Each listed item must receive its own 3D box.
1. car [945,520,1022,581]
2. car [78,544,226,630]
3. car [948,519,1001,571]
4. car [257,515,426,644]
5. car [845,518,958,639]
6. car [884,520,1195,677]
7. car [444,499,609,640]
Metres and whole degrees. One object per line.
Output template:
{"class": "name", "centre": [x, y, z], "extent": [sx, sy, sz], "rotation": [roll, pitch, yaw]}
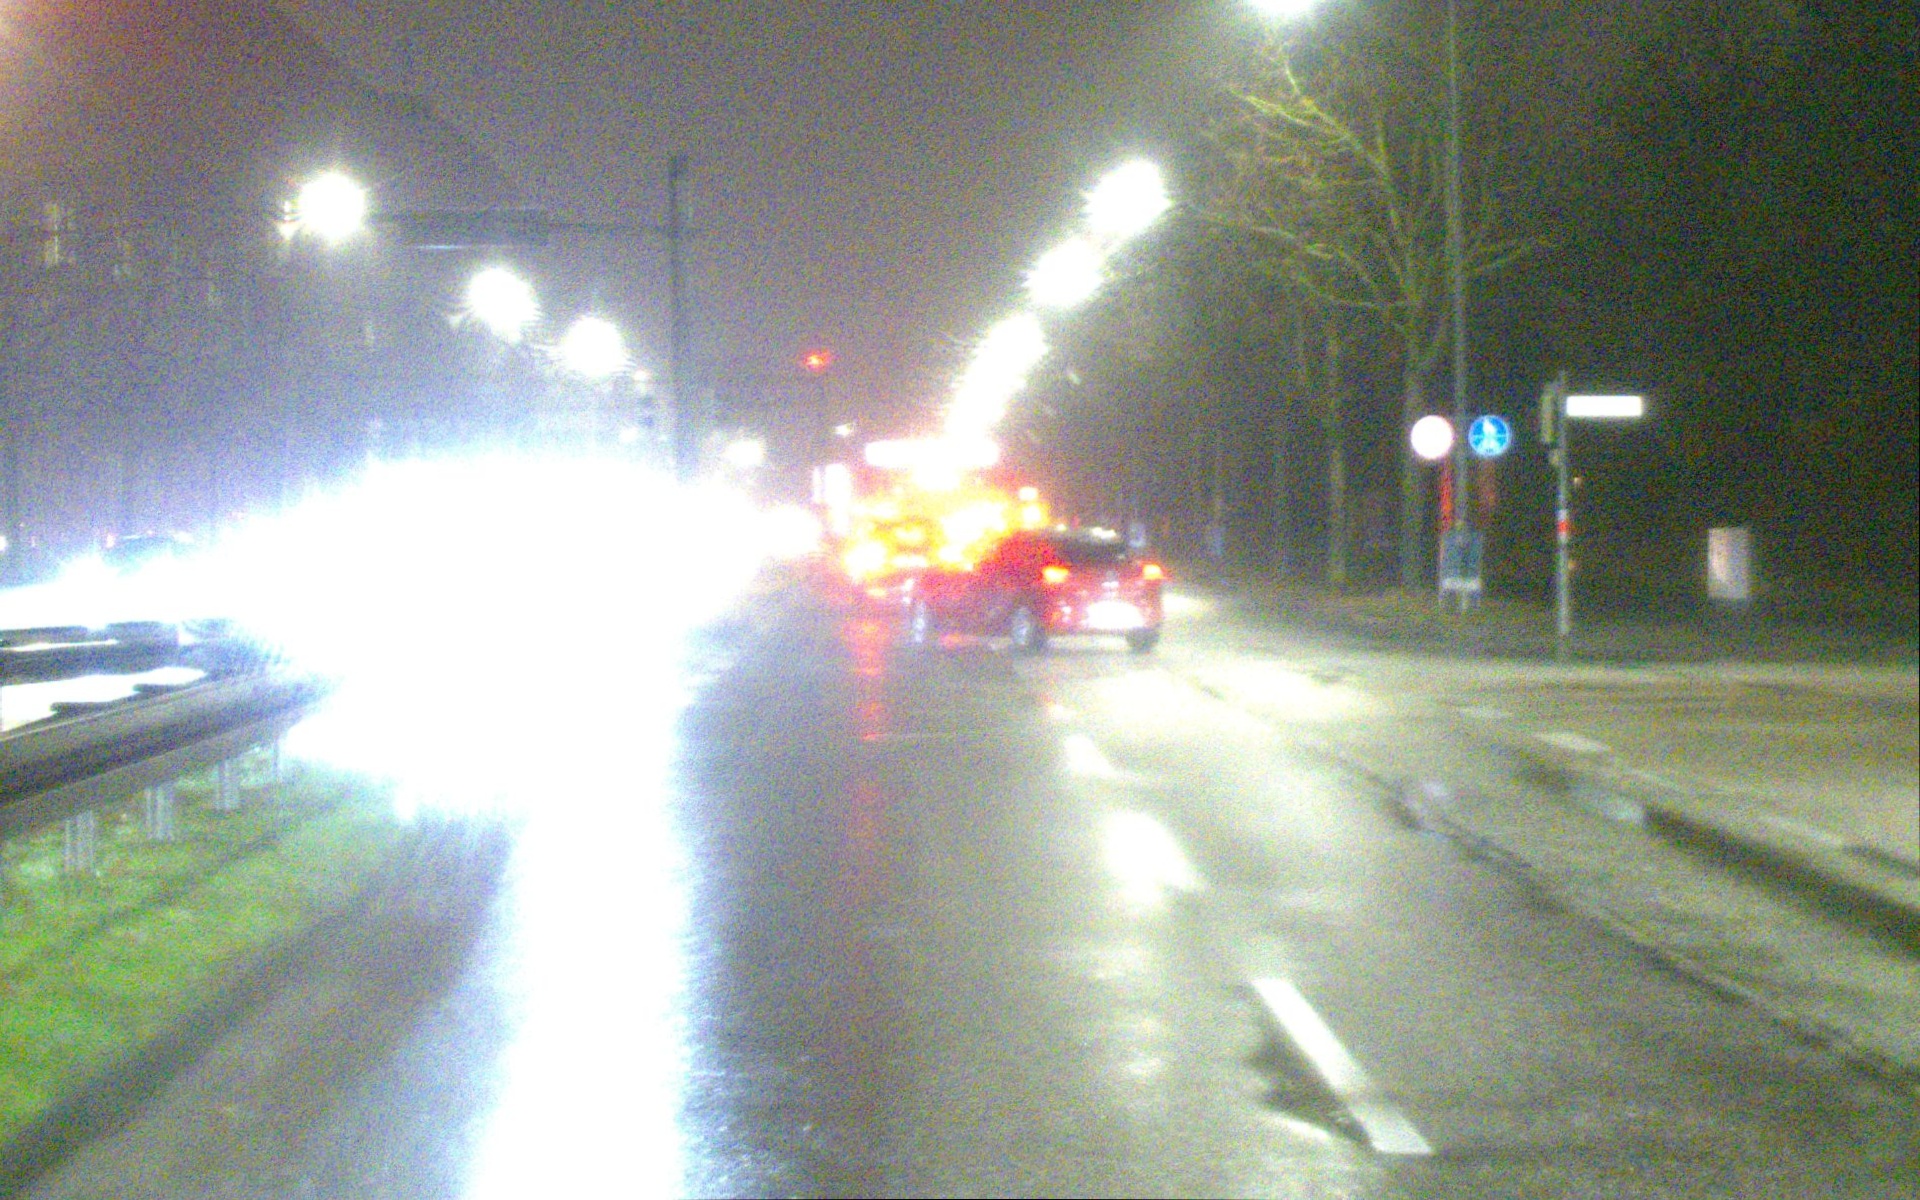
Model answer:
{"class": "car", "centre": [0.684, -1.442, 102.185], "extent": [1.902, 1.774, 4.001], "rotation": [0, 0, -5]}
{"class": "car", "centre": [-15.376, -0.248, 65.635], "extent": [1.847, 1.585, 4.353], "rotation": [0, 0, -1]}
{"class": "car", "centre": [0.598, -2.344, 146.849], "extent": [2.208, 2.207, 3.643], "rotation": [0, 0, 0]}
{"class": "car", "centre": [-9.136, -0.316, 51.043], "extent": [1.783, 1.809, 4.000], "rotation": [-1, 1, 0]}
{"class": "car", "centre": [-0.940, -0.341, 53.830], "extent": [1.681, 1.831, 3.429], "rotation": [0, 0, -2]}
{"class": "car", "centre": [0.869, -0.036, 40.593], "extent": [1.978, 1.749, 4.353], "rotation": [0, 0, -24]}
{"class": "car", "centre": [-6.489, -0.466, 51.814], "extent": [1.993, 2.007, 4.000], "rotation": [-1, 1, -1]}
